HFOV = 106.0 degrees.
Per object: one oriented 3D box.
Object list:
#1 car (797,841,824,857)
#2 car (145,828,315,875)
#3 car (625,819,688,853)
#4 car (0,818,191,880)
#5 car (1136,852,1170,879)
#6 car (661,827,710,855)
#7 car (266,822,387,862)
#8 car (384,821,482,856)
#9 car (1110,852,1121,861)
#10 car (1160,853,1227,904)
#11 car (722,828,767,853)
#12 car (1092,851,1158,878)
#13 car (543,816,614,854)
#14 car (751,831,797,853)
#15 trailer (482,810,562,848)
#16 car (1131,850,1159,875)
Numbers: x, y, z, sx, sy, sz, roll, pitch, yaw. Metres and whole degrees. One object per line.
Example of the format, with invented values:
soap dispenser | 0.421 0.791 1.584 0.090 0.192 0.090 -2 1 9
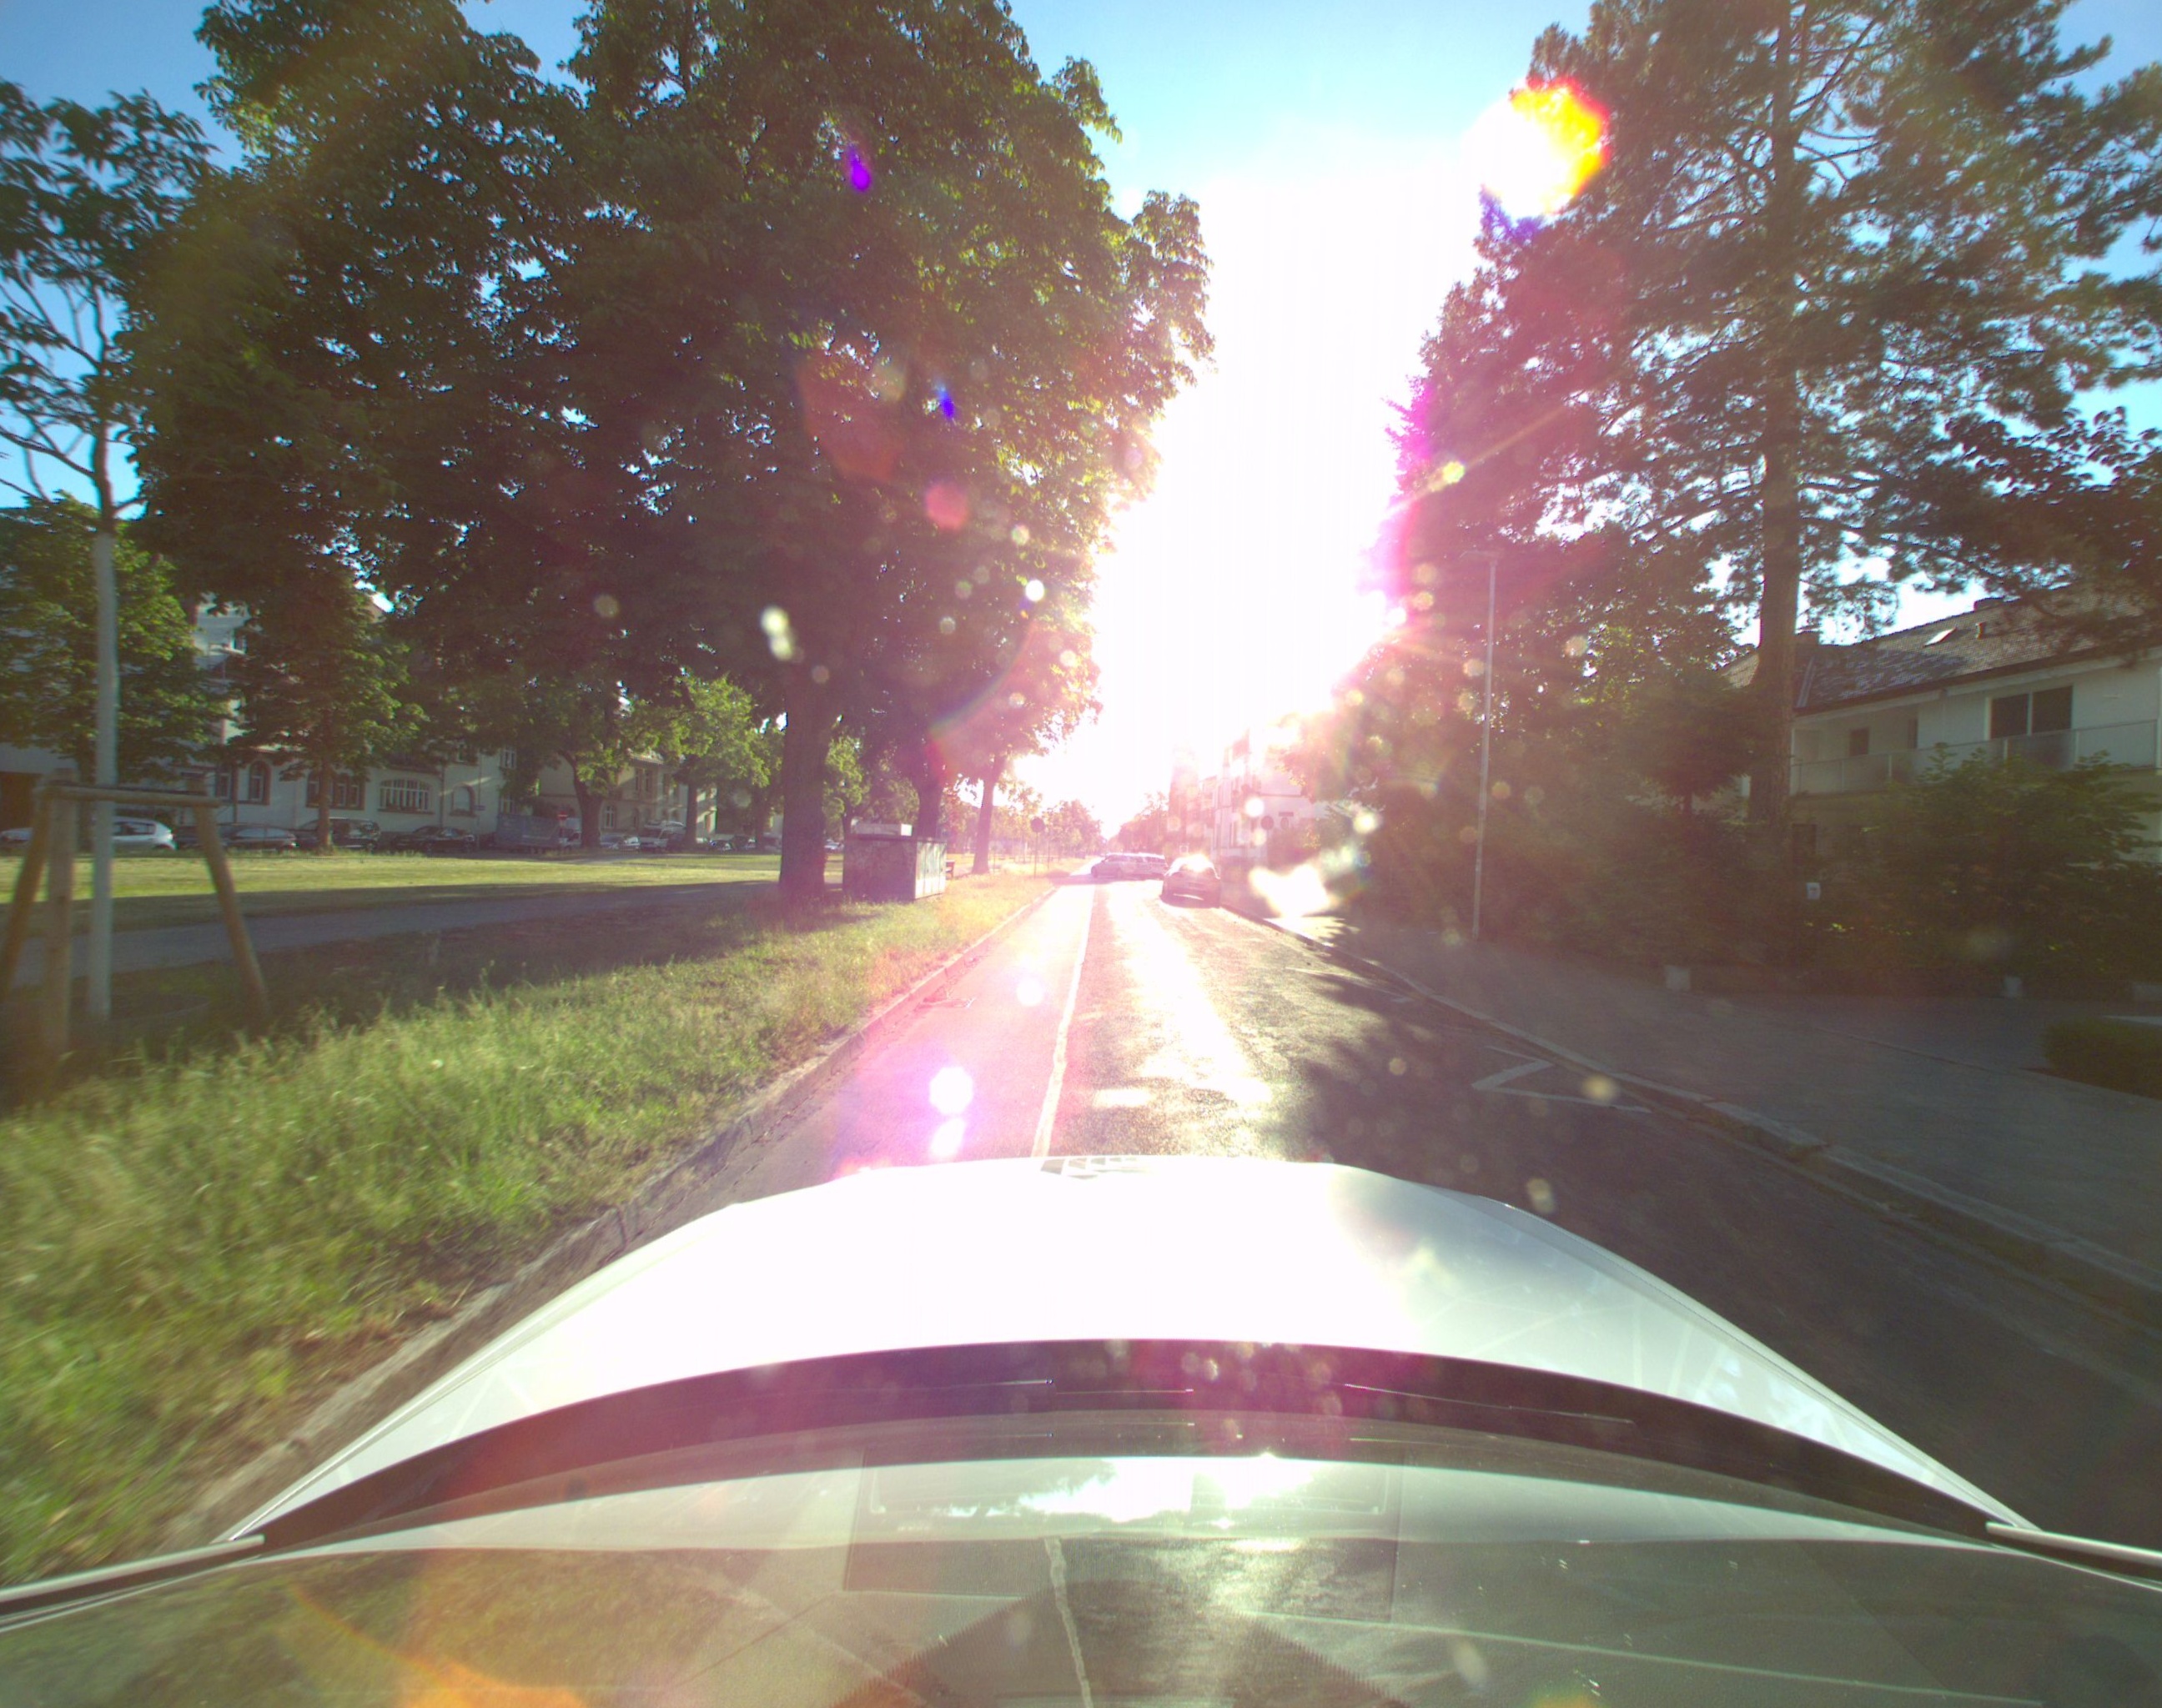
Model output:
car | -36.917 -0.680 111.164 1.986 2.013 4.486 -1 0 1
car | -33.032 -0.087 31.826 1.985 1.649 4.258 2 0 3
car | -37.715 -1.537 72.553 2.429 2.922 5.820 -1 0 1
car | -33.054 -0.170 27.118 1.985 1.860 4.258 2 0 3
car | 4.547 0.697 51.781 1.753 1.605 4.359 1 1 0
car | -32.050 -1.053 66.140 1.678 2.175 4.317 2 0 2
car | -38.554 -0.594 41.801 1.988 1.876 4.494 2 0 -1
car | -38.596 -0.918 48.662 1.987 1.952 4.751 2 0 0
car | 6.456 0.420 153.845 1.972 1.682 4.003 2 0 2
car | 3.865 0.800 28.641 1.750 1.419 4.074 8 1 2
car | -31.770 -1.243 77.096 1.986 2.250 5.189 2 0 1
car | 2.455 0.563 46.576 1.773 1.420 3.959 -1 1 -33
car | -37.974 -1.404 61.716 1.986 2.672 5.189 2 0 2
car | -31.741 -1.248 84.367 2.525 2.236 5.462 1 1 2
trailer | -38.116 -1.661 55.691 1.986 2.428 4.726 2 0 2
car | 4.561 0.598 58.336 1.679 1.651 4.101 2 0 1
